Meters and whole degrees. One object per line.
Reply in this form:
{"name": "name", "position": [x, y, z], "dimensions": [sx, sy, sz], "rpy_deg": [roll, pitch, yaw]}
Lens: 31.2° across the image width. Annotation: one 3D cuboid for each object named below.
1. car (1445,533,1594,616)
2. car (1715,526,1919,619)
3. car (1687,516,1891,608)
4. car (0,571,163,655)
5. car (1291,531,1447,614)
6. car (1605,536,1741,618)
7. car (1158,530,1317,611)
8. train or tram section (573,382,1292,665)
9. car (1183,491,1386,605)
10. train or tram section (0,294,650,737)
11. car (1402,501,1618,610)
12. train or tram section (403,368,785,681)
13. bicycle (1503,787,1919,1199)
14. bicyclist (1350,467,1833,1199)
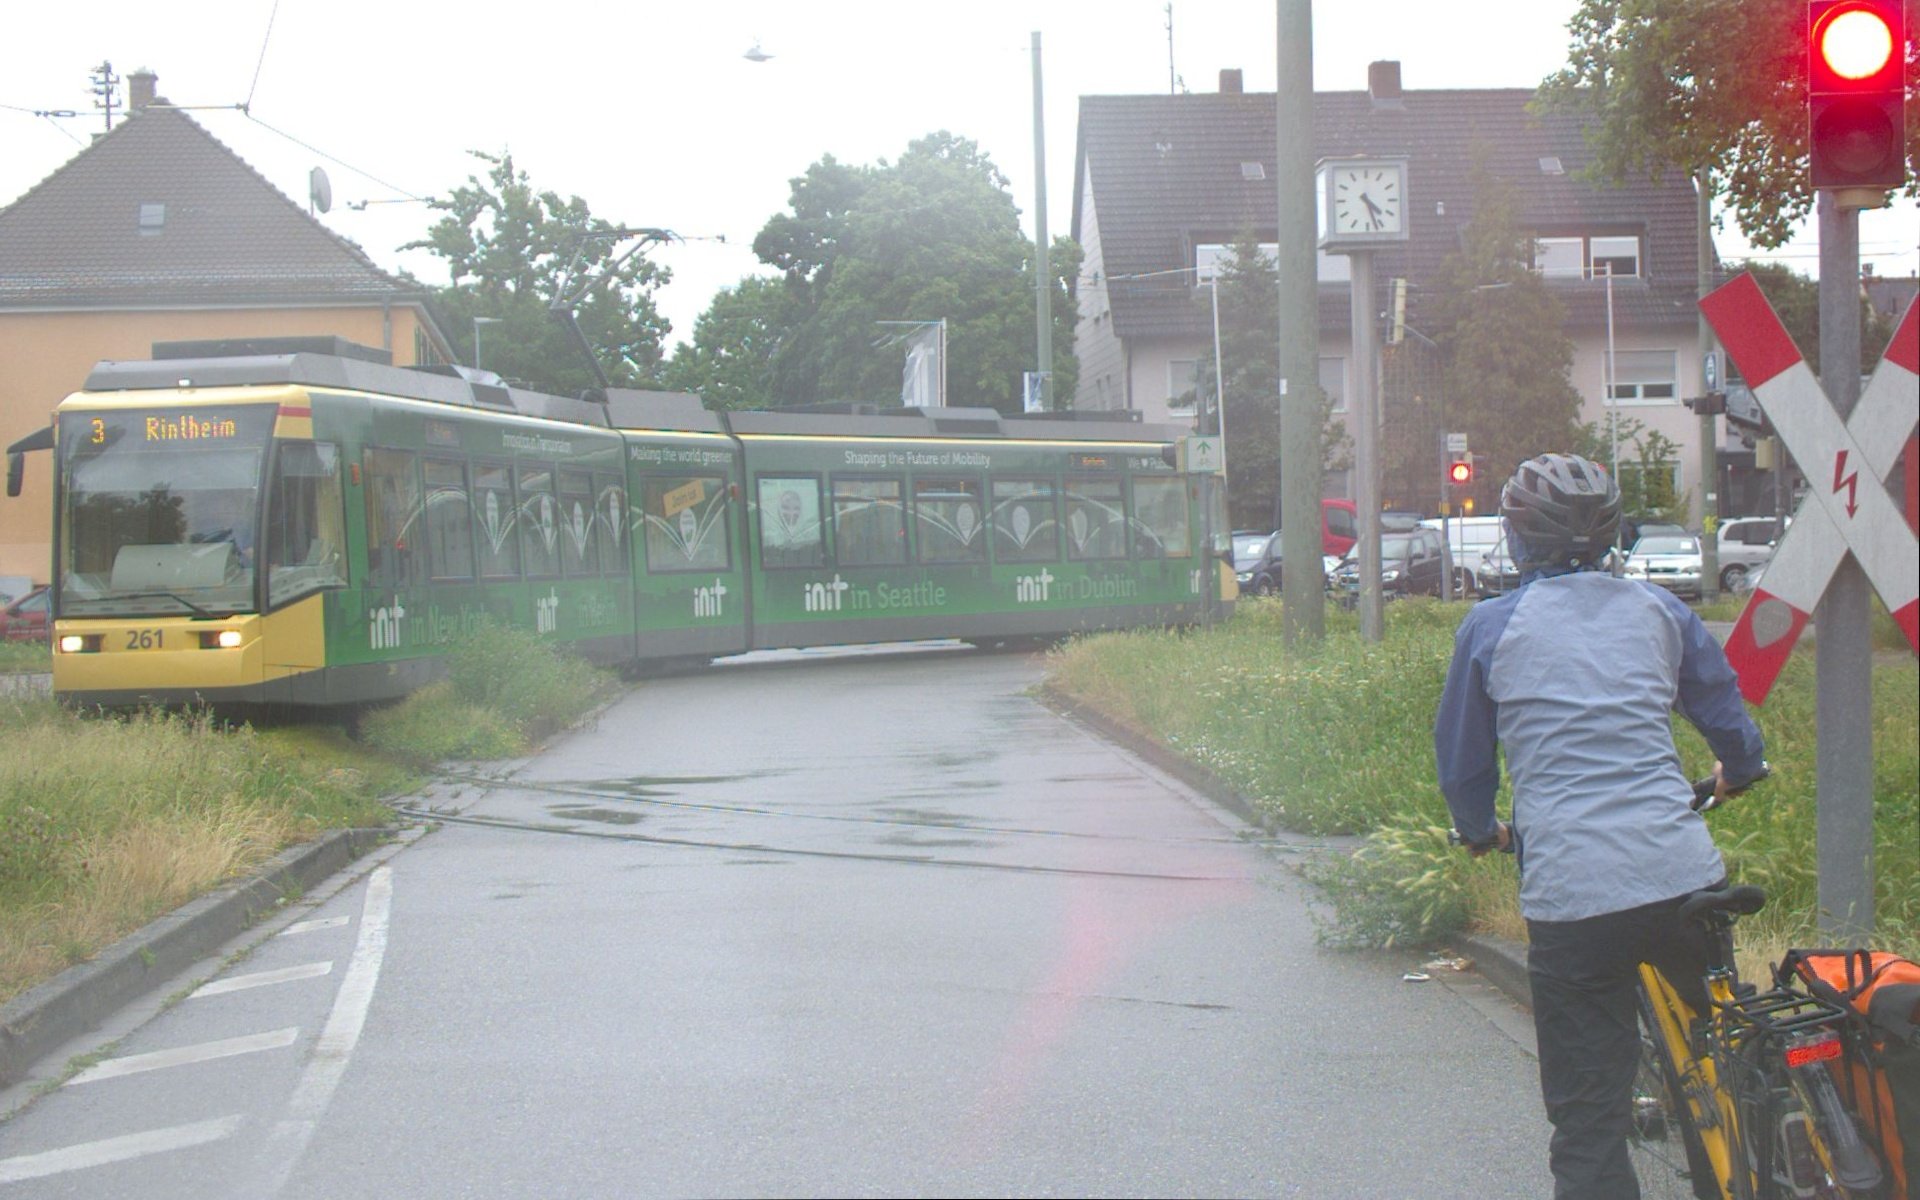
{"name": "car", "position": [11.516, -0.517, 70.575], "dimensions": [1.996, 1.634, 3.995], "rpy_deg": [1, 0, 25]}
{"name": "car", "position": [16.350, -0.517, 65.105], "dimensions": [3.684, 1.695, 1.890], "rpy_deg": [1, 0, 0]}
{"name": "car", "position": [18.368, -0.843, 76.272], "dimensions": [3.986, 1.944, 2.000], "rpy_deg": [1, 0, -2]}
{"name": "car", "position": [-16.671, 0.221, 62.595], "dimensions": [3.986, 1.451, 1.834], "rpy_deg": [1, 0, -6]}
{"name": "car", "position": [8.398, -0.559, 70.355], "dimensions": [1.996, 1.634, 3.995], "rpy_deg": [1, 0, 25]}
{"name": "car", "position": [14.745, -0.475, 70.966], "dimensions": [1.843, 1.634, 3.995], "rpy_deg": [1, 0, 25]}
{"name": "car", "position": [5.804, -0.605, 71.523], "dimensions": [1.996, 1.634, 3.995], "rpy_deg": [1, 0, 25]}
{"name": "train or tram section", "position": [0.068, -1.122, 49.206], "dimensions": [2.766, 3.541, 13.105], "rpy_deg": [-1, 1, 37]}
{"name": "car", "position": [7.543, -1.199, 79.798], "dimensions": [4.398, 2.557, 1.999], "rpy_deg": [1, 0, 14]}
{"name": "train or tram section", "position": [-5.900, -0.768, 34.097], "dimensions": [2.761, 3.541, 12.200], "rpy_deg": [-2, 1, 8]}
{"name": "car", "position": [12.164, -0.985, 76.233], "dimensions": [4.395, 2.317, 2.000], "rpy_deg": [1, 0, -2]}
{"name": "train or tram section", "position": [-4.385, -0.903, 42.212], "dimensions": [2.763, 3.541, 4.984], "rpy_deg": [-2, 1, 18]}
{"name": "bicycle", "position": [1.346, 0.902, 6.069], "dimensions": [0.446, 1.001, 1.728], "rpy_deg": [-1, 1, -2]}
{"name": "bicyclist", "position": [1.099, 0.589, 6.154], "dimensions": [0.667, 1.620, 0.853], "rpy_deg": [1, 0, -2]}
